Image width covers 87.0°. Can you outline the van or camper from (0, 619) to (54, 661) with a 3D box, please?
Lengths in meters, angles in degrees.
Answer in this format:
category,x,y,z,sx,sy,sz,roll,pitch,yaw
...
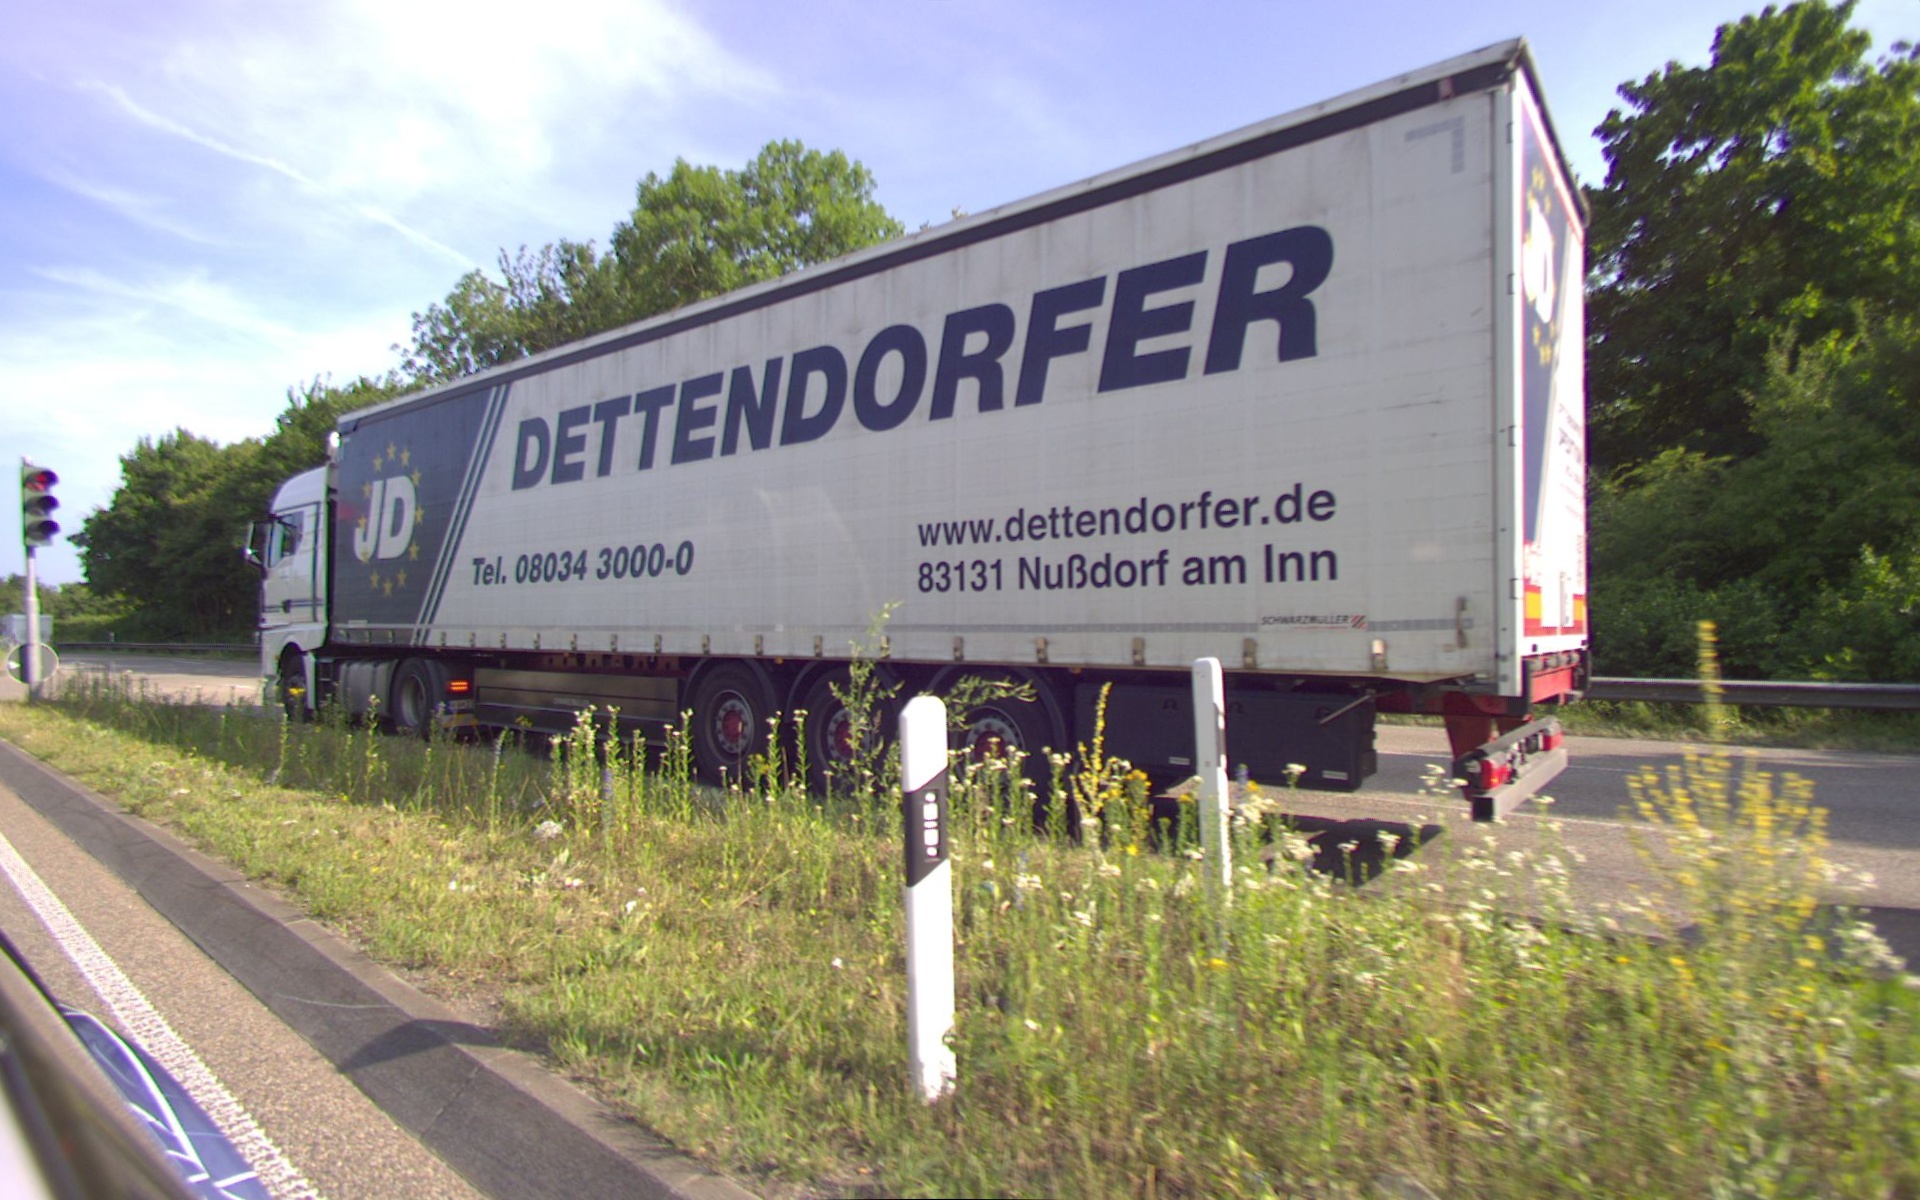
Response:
category,x,y,z,sx,sy,sz,roll,pitch,yaw
van or camper,-63.691,2.736,68.575,6.430,2.732,2.389,-2,-4,39

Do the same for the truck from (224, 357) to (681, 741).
category,x,y,z,sx,sy,sz,roll,pitch,yaw
truck,-7.136,-0.479,13.824,6.711,4.027,2.864,-2,0,38

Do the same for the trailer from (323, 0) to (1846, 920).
category,x,y,z,sx,sy,sz,roll,pitch,yaw
trailer,-1.362,-0.666,9.290,13.993,4.026,2.963,-2,0,38
